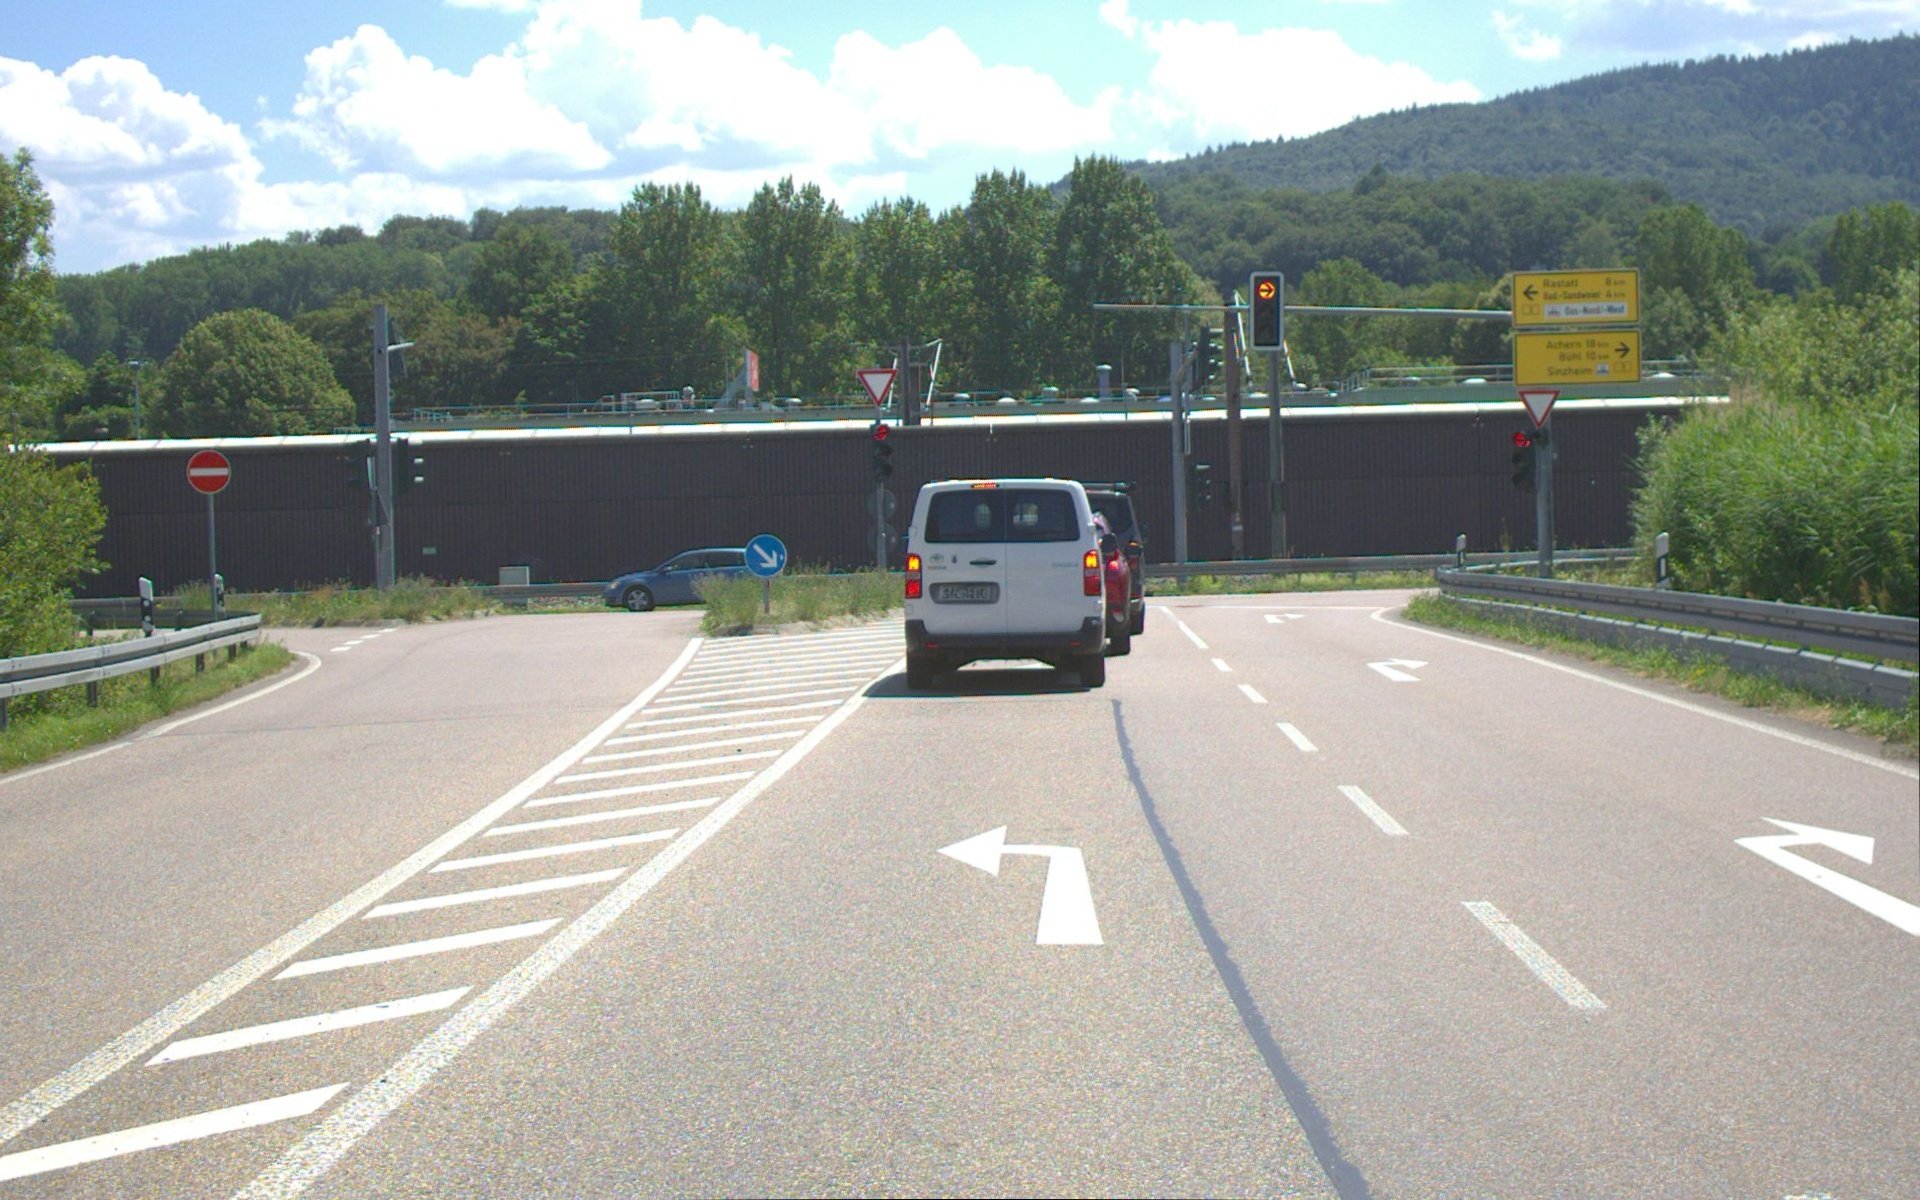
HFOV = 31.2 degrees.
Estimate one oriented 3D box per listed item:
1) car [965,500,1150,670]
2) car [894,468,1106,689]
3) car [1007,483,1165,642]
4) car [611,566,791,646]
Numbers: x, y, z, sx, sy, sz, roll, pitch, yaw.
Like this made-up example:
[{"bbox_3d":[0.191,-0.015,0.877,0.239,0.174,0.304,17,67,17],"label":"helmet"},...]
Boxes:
[{"bbox_3d":[1.161,-0.201,40.524,1.994,1.806,4.000,-3,1,2],"label":"car"},{"bbox_3d":[0.415,-0.225,32.781,1.870,1.958,4.000,-1,1,2],"label":"car"},{"bbox_3d":[1.737,-0.529,47.559,1.994,2.006,4.000,-3,1,2],"label":"car"},{"bbox_3d":[-6.015,0.125,80.217,3.987,1.763,2.000,-1,1,1],"label":"car"}]
